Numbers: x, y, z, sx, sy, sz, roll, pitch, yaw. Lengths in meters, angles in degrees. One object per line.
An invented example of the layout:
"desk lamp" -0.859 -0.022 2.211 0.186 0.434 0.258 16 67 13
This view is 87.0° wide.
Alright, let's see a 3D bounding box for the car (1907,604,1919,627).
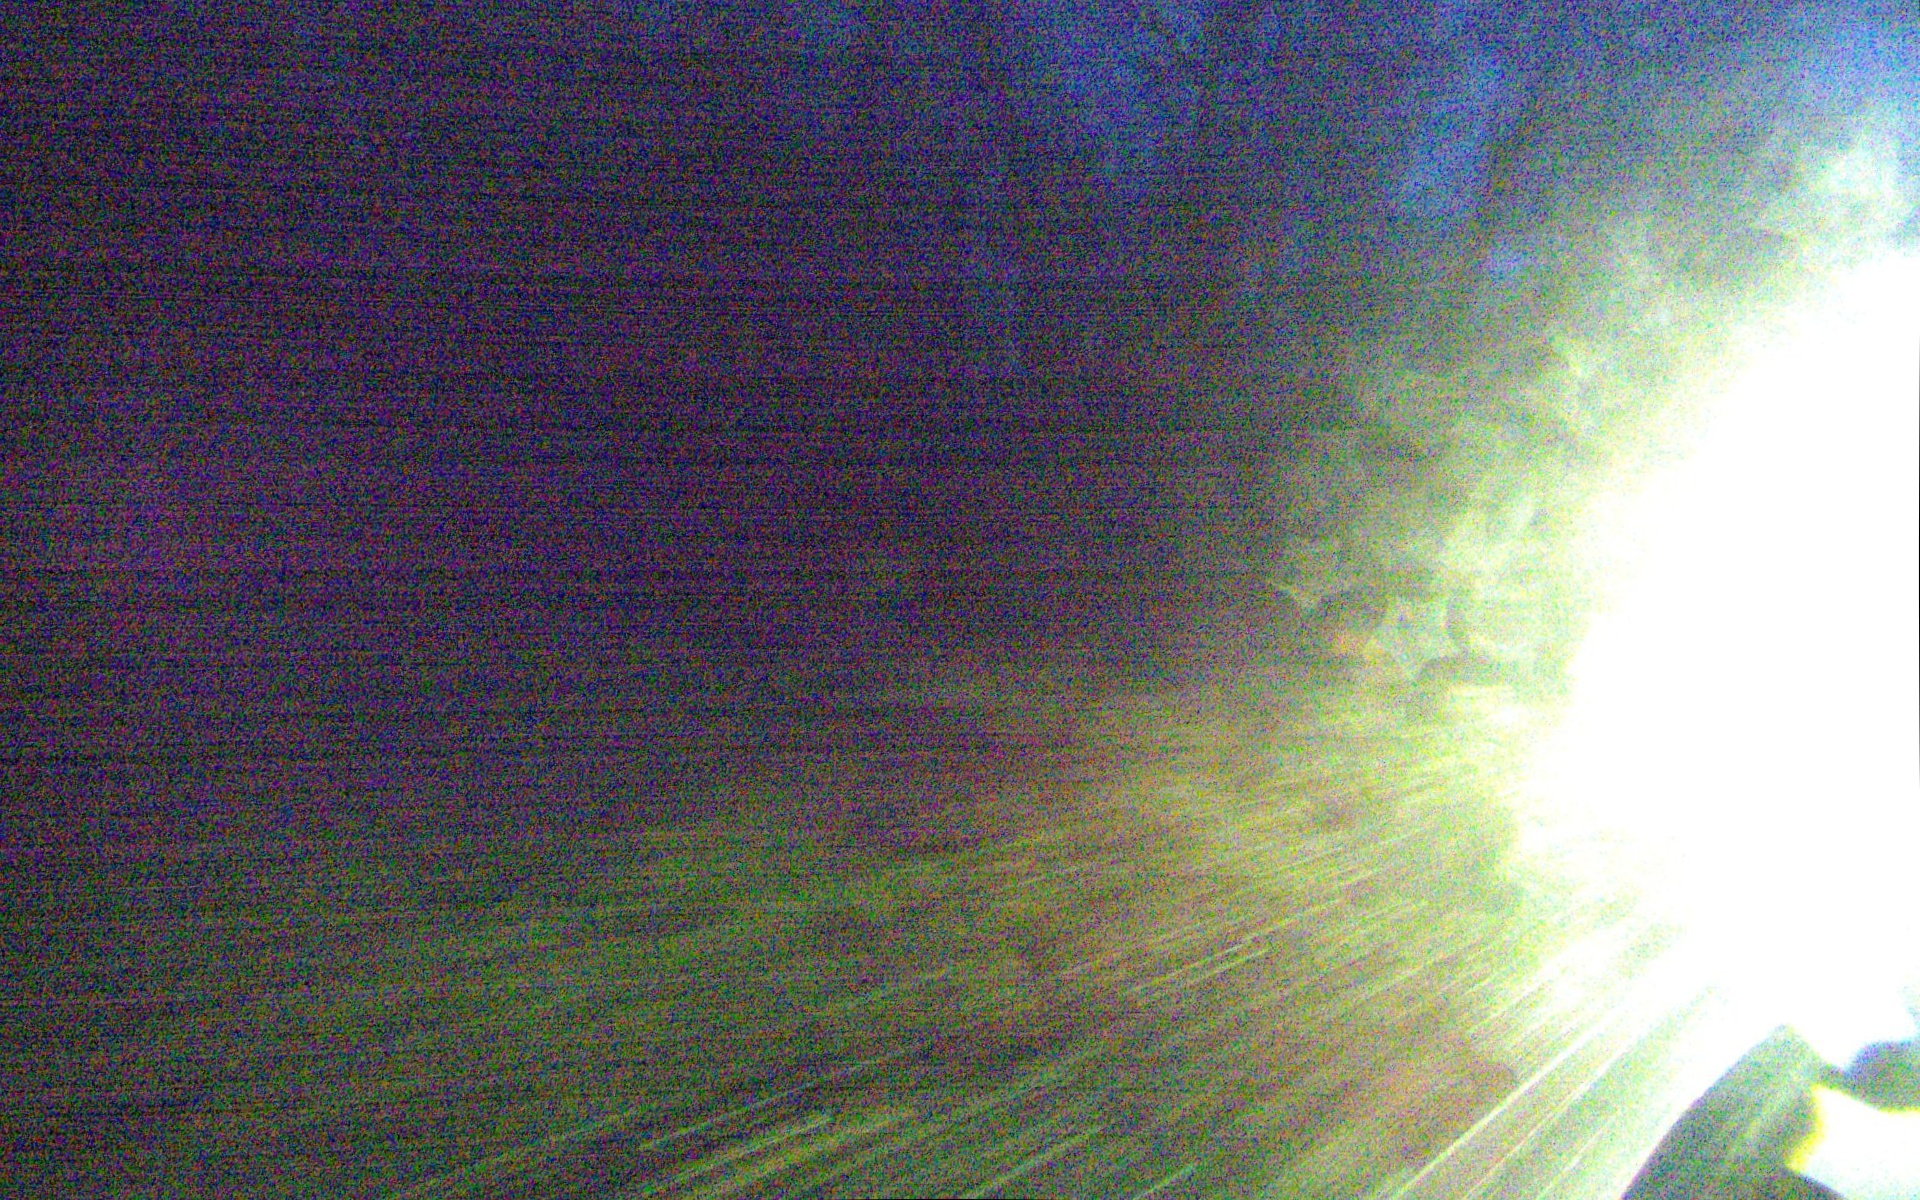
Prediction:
"car" 71.204 1.185 74.601 1.896 1.580 3.939 5 3 42
